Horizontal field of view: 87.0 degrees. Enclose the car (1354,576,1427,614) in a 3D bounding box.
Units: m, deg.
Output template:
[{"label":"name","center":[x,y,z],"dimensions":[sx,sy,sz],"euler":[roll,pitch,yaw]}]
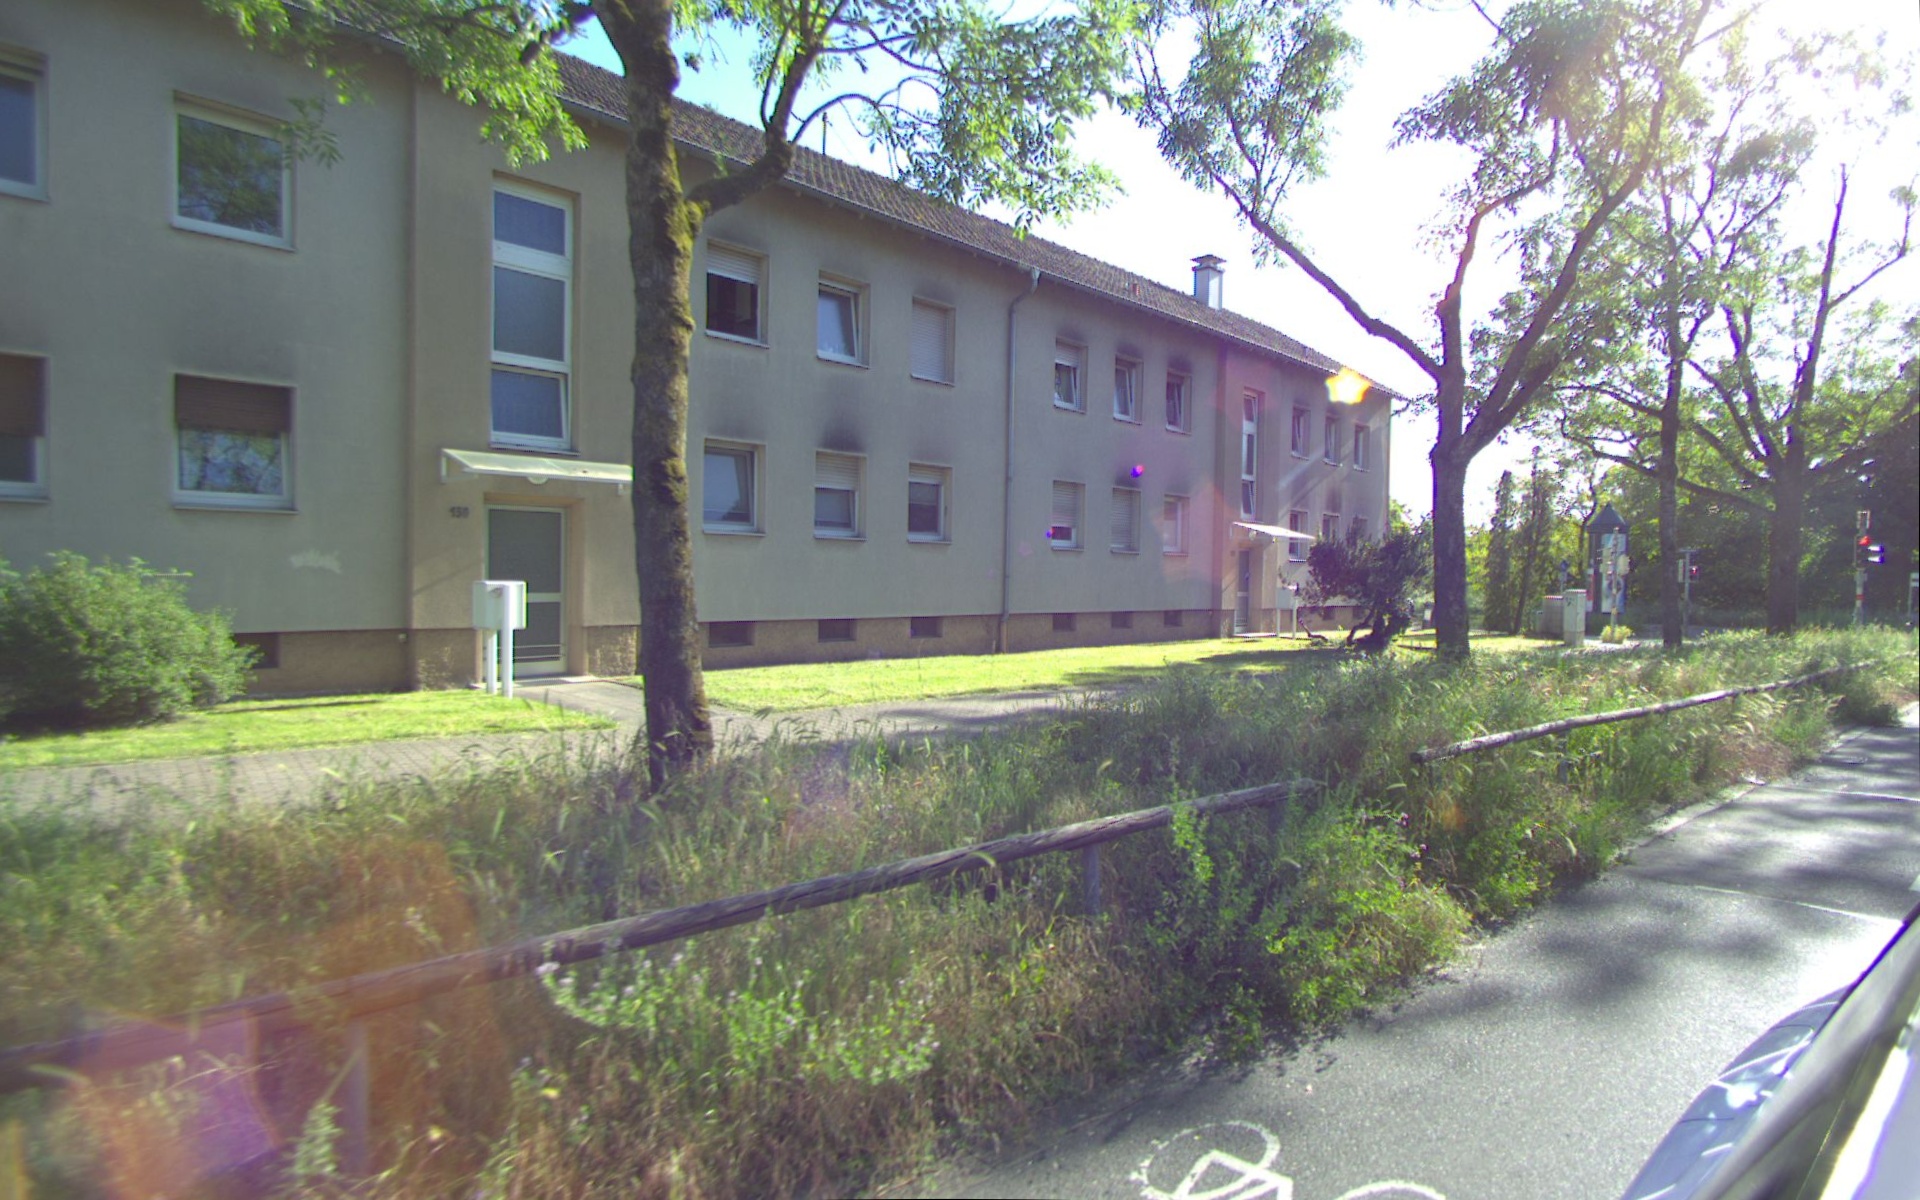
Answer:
[{"label":"car","center":[21.857,-0.280,51.275],"dimensions":[4.377,1.670,1.864],"euler":[-4,3,-44]}]
